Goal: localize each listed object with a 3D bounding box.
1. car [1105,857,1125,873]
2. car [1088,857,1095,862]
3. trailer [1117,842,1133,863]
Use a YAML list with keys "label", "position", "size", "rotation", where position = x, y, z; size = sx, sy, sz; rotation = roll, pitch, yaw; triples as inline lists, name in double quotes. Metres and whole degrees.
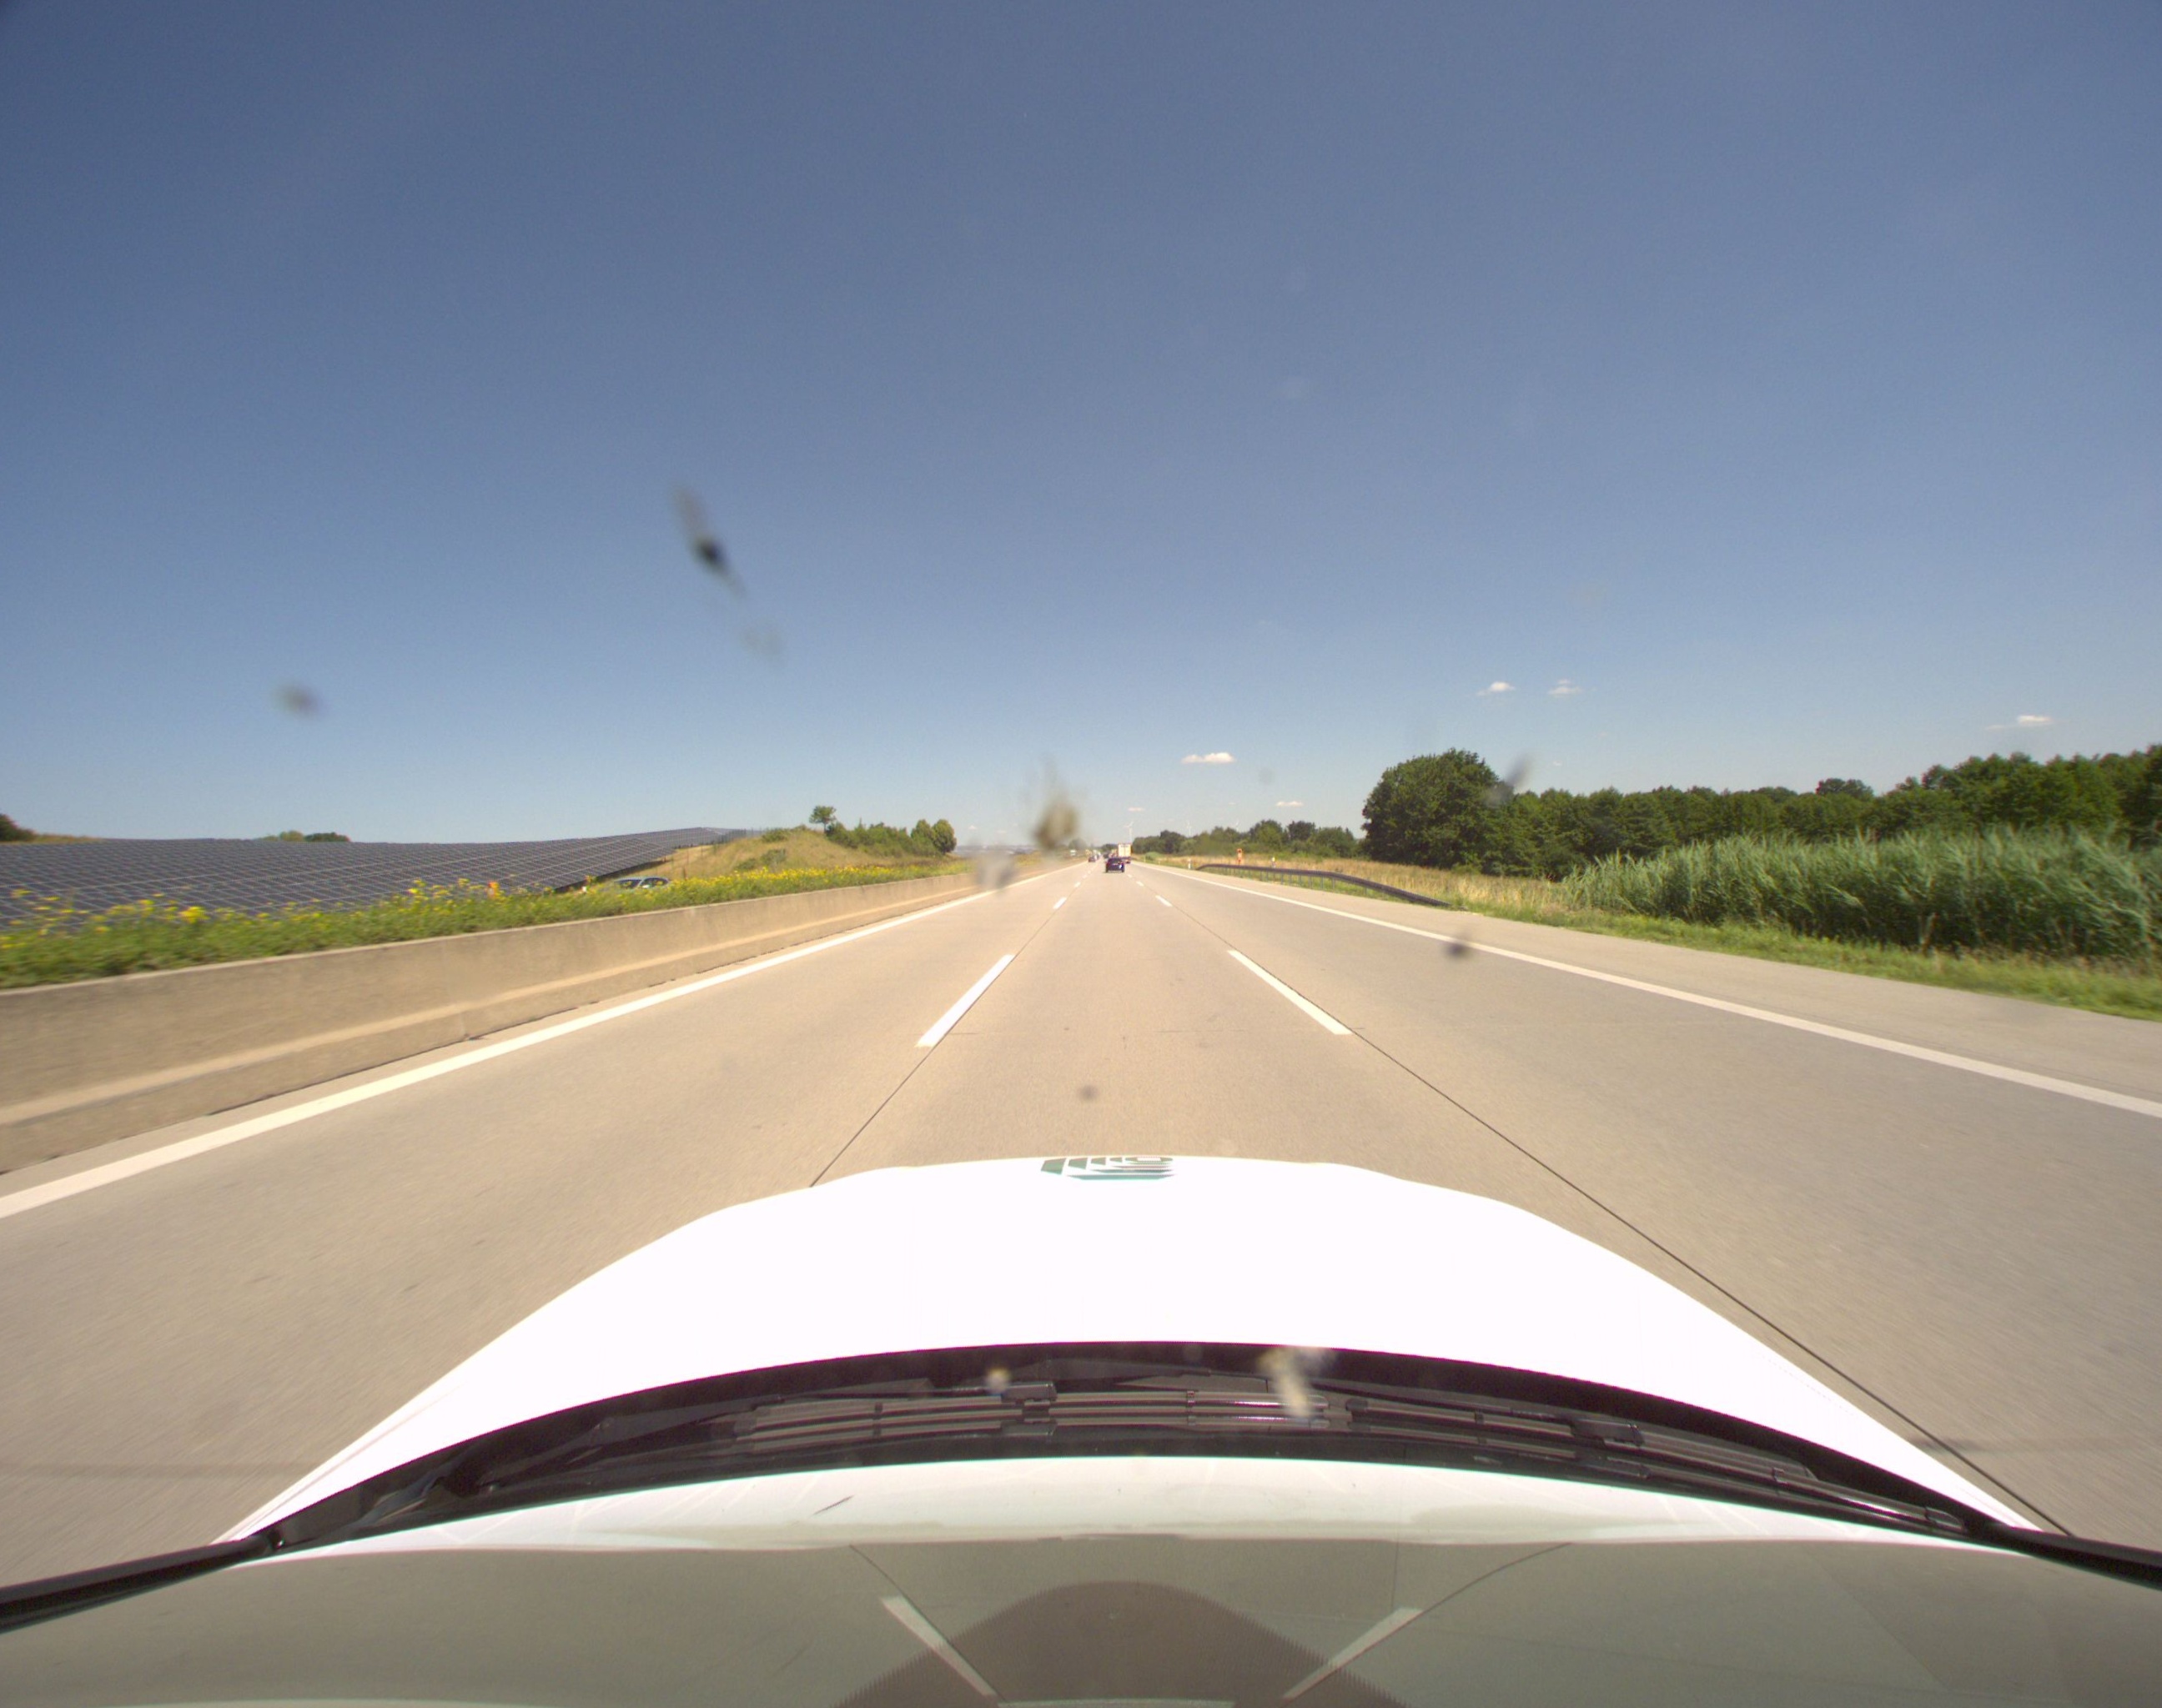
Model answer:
- label: "car"
  position: [3.204, 1.027, 77.446]
  size: [1.903, 1.492, 4.193]
  rotation: [0, 0, 1]
- label: "car"
  position: [2.768, 1.487, 208.784]
  size: [1.649, 1.196, 3.961]
  rotation: [2, 0, 2]
- label: "trailer"
  position: [8.969, -0.252, 168.237]
  size: [2.842, 4.042, 12.717]
  rotation: [-1, 0, 1]
